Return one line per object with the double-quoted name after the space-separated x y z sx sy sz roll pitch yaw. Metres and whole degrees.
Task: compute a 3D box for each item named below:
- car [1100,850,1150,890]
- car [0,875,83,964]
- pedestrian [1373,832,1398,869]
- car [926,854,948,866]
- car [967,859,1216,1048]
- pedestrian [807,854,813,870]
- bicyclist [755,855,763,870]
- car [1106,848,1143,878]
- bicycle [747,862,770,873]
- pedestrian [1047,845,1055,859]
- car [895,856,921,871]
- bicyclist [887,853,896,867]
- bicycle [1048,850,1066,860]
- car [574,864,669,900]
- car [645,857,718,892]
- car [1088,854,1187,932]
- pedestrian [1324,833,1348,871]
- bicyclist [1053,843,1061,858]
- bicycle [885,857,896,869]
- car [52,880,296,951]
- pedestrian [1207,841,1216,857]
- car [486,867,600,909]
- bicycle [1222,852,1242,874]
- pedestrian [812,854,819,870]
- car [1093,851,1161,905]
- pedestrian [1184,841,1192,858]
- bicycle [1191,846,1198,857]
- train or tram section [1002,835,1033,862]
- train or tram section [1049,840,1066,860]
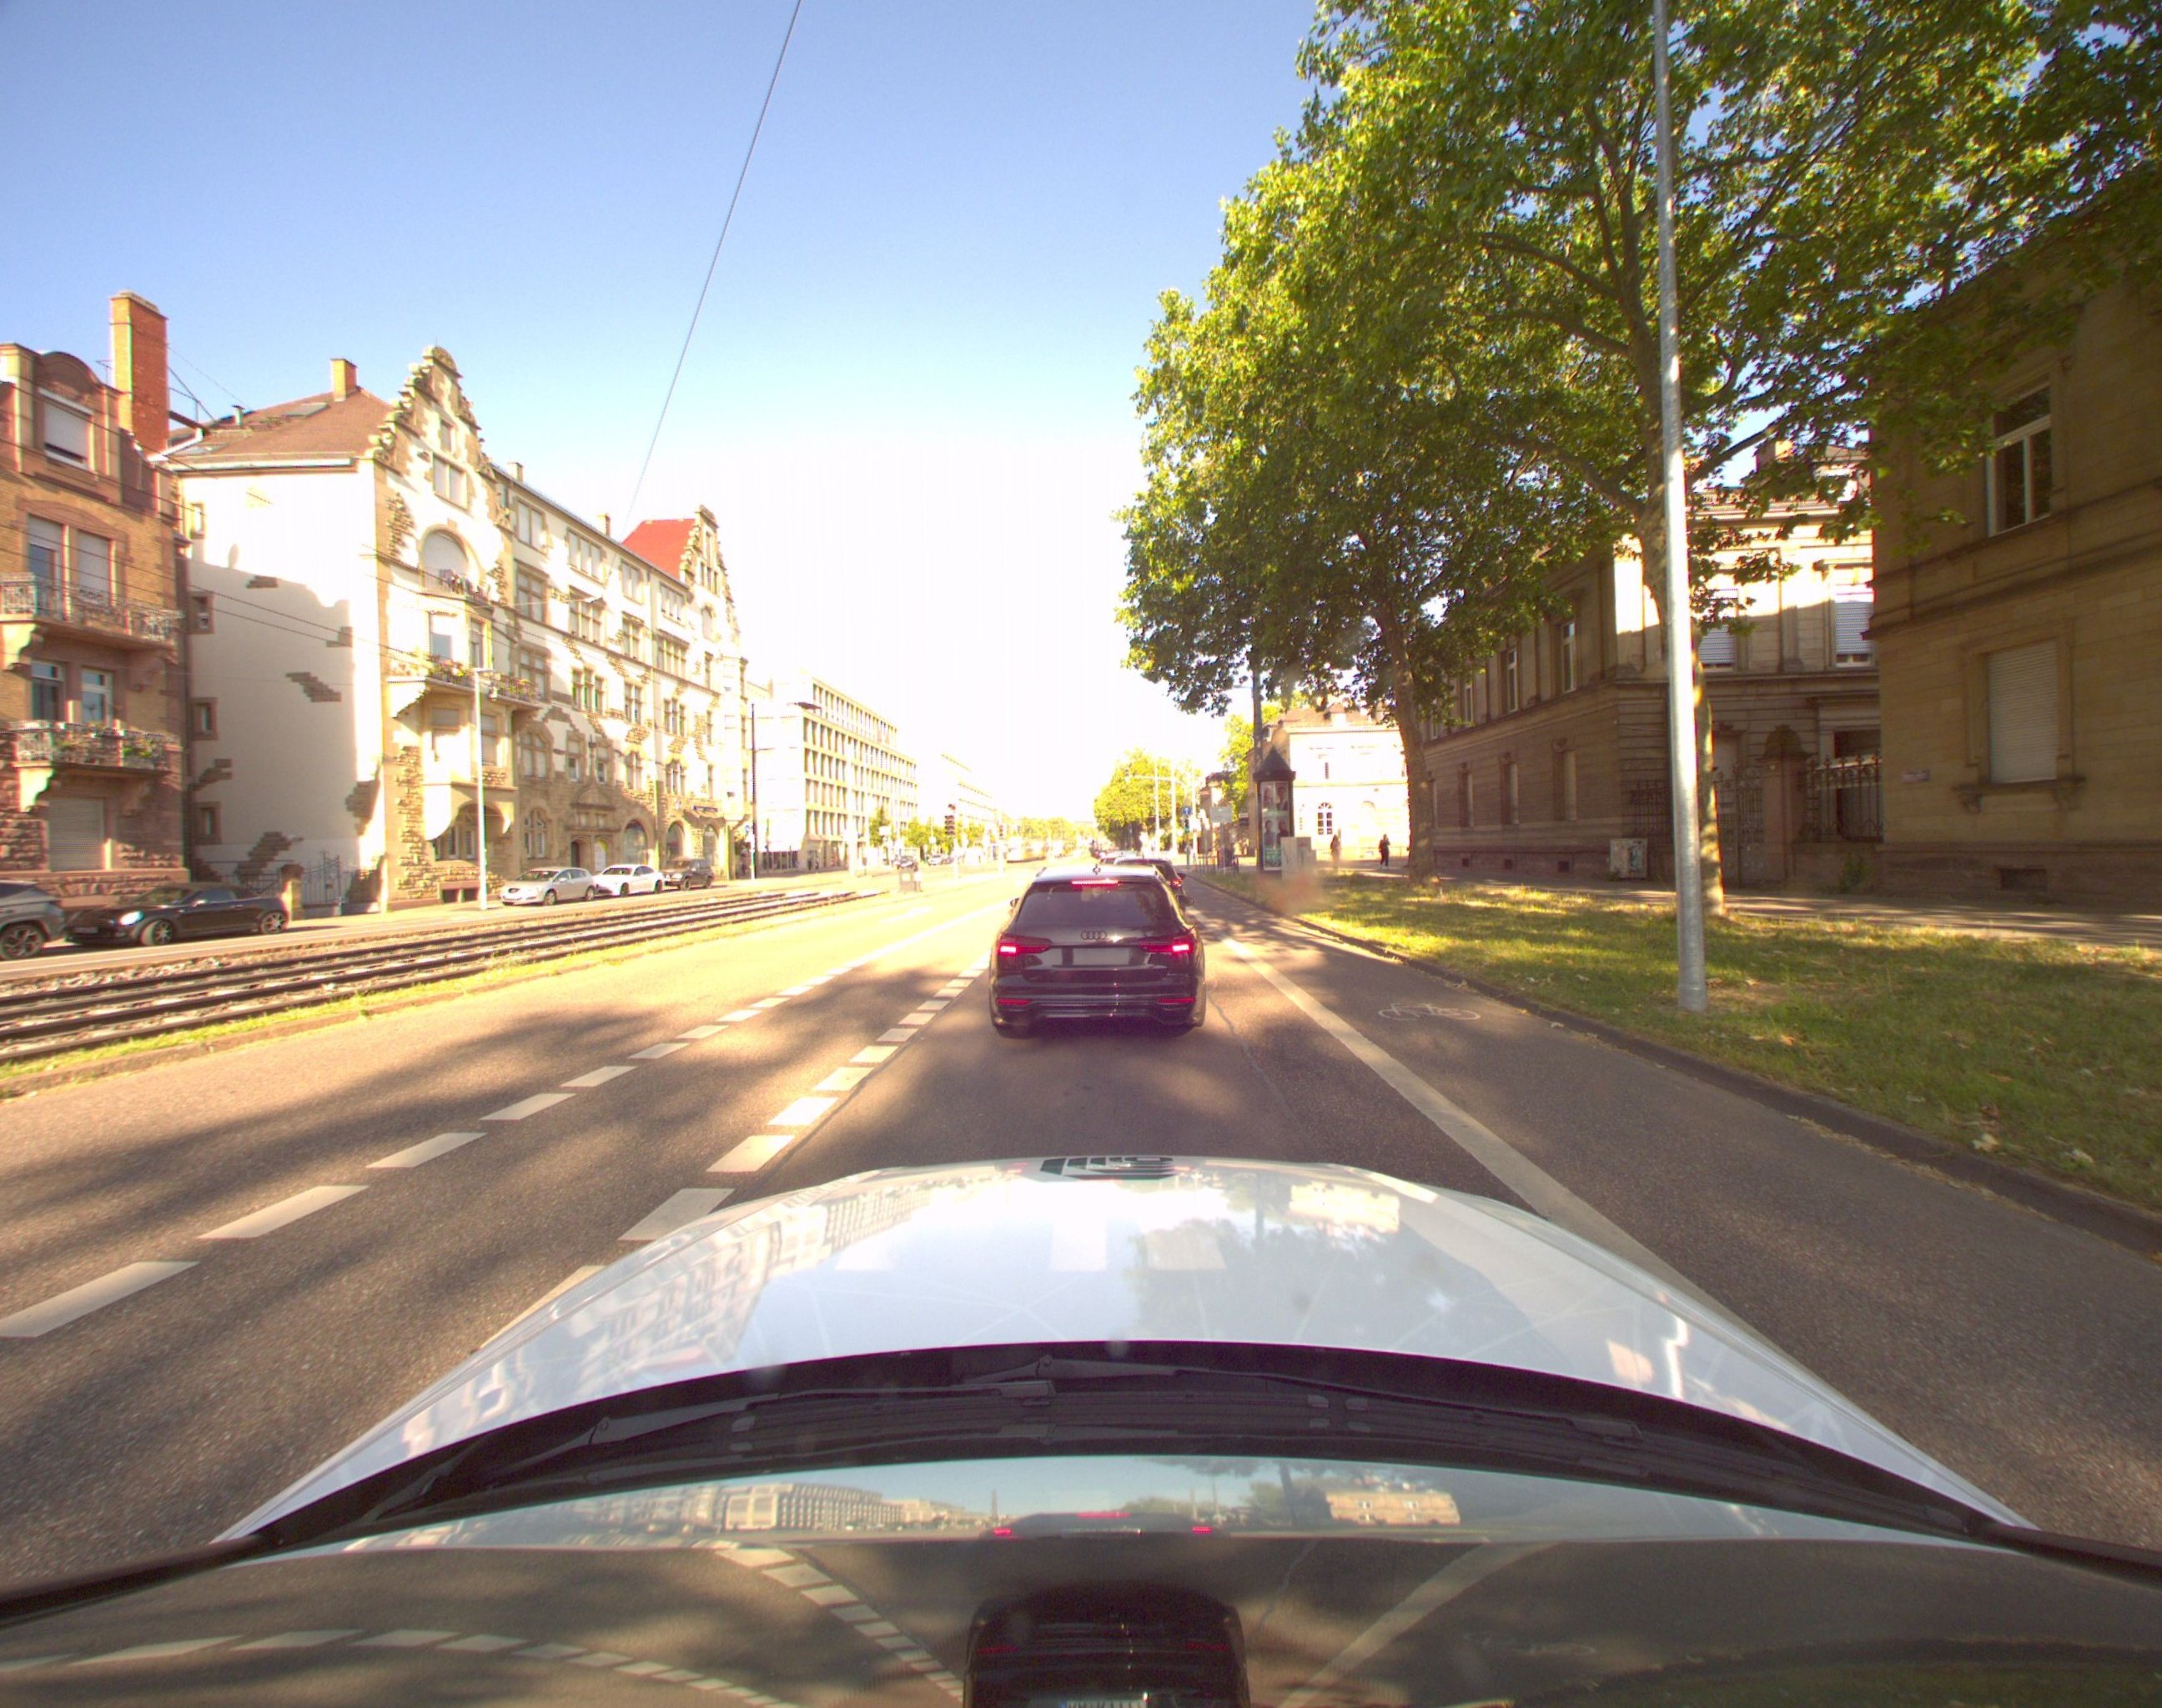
1.761 0.623 32.824 1.895 1.486 4.147 -1 0 3 "car"
-21.767 1.291 14.702 1.849 1.622 4.504 1 1 1 "car"
13.867 -0.165 37.088 0.766 1.606 0.987 -2 0 3 "pedestrian"
-18.684 0.728 106.147 1.812 1.457 4.543 -2 0 3 "car"
0.173 0.779 8.327 1.895 1.422 4.147 -1 0 3 "car"
-31.514 0.931 94.582 0.475 1.843 0.438 -2 0 -36 "pedestrian"
-37.719 0.974 95.374 0.639 1.686 0.577 -2 0 1 "bicyclist"
2.325 0.466 43.932 1.895 1.486 4.147 -1 0 3 "car"
-37.758 1.600 95.365 2.372 1.215 0.577 -2 0 1 "bicycle"
-3.725 -0.225 100.328 0.742 1.741 0.659 -2 0 -18 "pedestrian"
-18.138 1.006 85.531 1.814 1.457 4.165 -2 0 0 "car"
-22.090 0.675 94.928 0.682 1.563 0.786 -2 0 3 "bicyclist"
-2.963 0.091 98.898 2.013 1.108 0.759 -2 0 -21 "bicycle"
-21.211 1.250 37.796 1.711 1.423 4.656 0 1 1 "car"
-21.073 1.028 43.157 1.711 1.675 4.217 0 1 1 "car"
1.187 0.757 17.848 1.895 1.486 4.147 -1 0 3 "car"
11.732 -0.107 37.461 0.766 1.709 1.043 -2 0 3 "pedestrian"
-2.888 -0.381 98.929 0.759 1.818 0.759 -2 0 -20 "bicyclist"
-22.148 1.021 94.877 0.682 1.381 1.949 -2 0 3 "bicycle"
-21.533 1.399 19.583 1.616 1.354 3.727 1 1 1 "car"
15.702 -0.603 98.158 0.975 1.865 0.827 -2 0 1 "pedestrian"
-21.158 1.287 32.256 1.704 1.430 4.223 0 1 0 "car"
7.288 0.423 39.355 0.538 1.061 1.770 -2 0 -1 "bicycle"
-30.873 0.912 94.749 0.535 1.843 0.438 -2 0 -36 "pedestrian"
1.394 0.688 25.130 1.895 1.486 4.147 -1 0 3 "car"
10.797 -0.469 81.897 0.679 1.660 0.758 -2 0 0 "pedestrian"
11.427 -0.256 81.907 0.433 1.145 1.340 -2 0 0 "bicycle"
-8.806 -0.741 114.723 2.802 3.489 13.211 -2 0 2 "train or tram section"
-4.258 -0.819 151.322 2.600 3.450 11.132 -2 0 1 "train or tram section"
